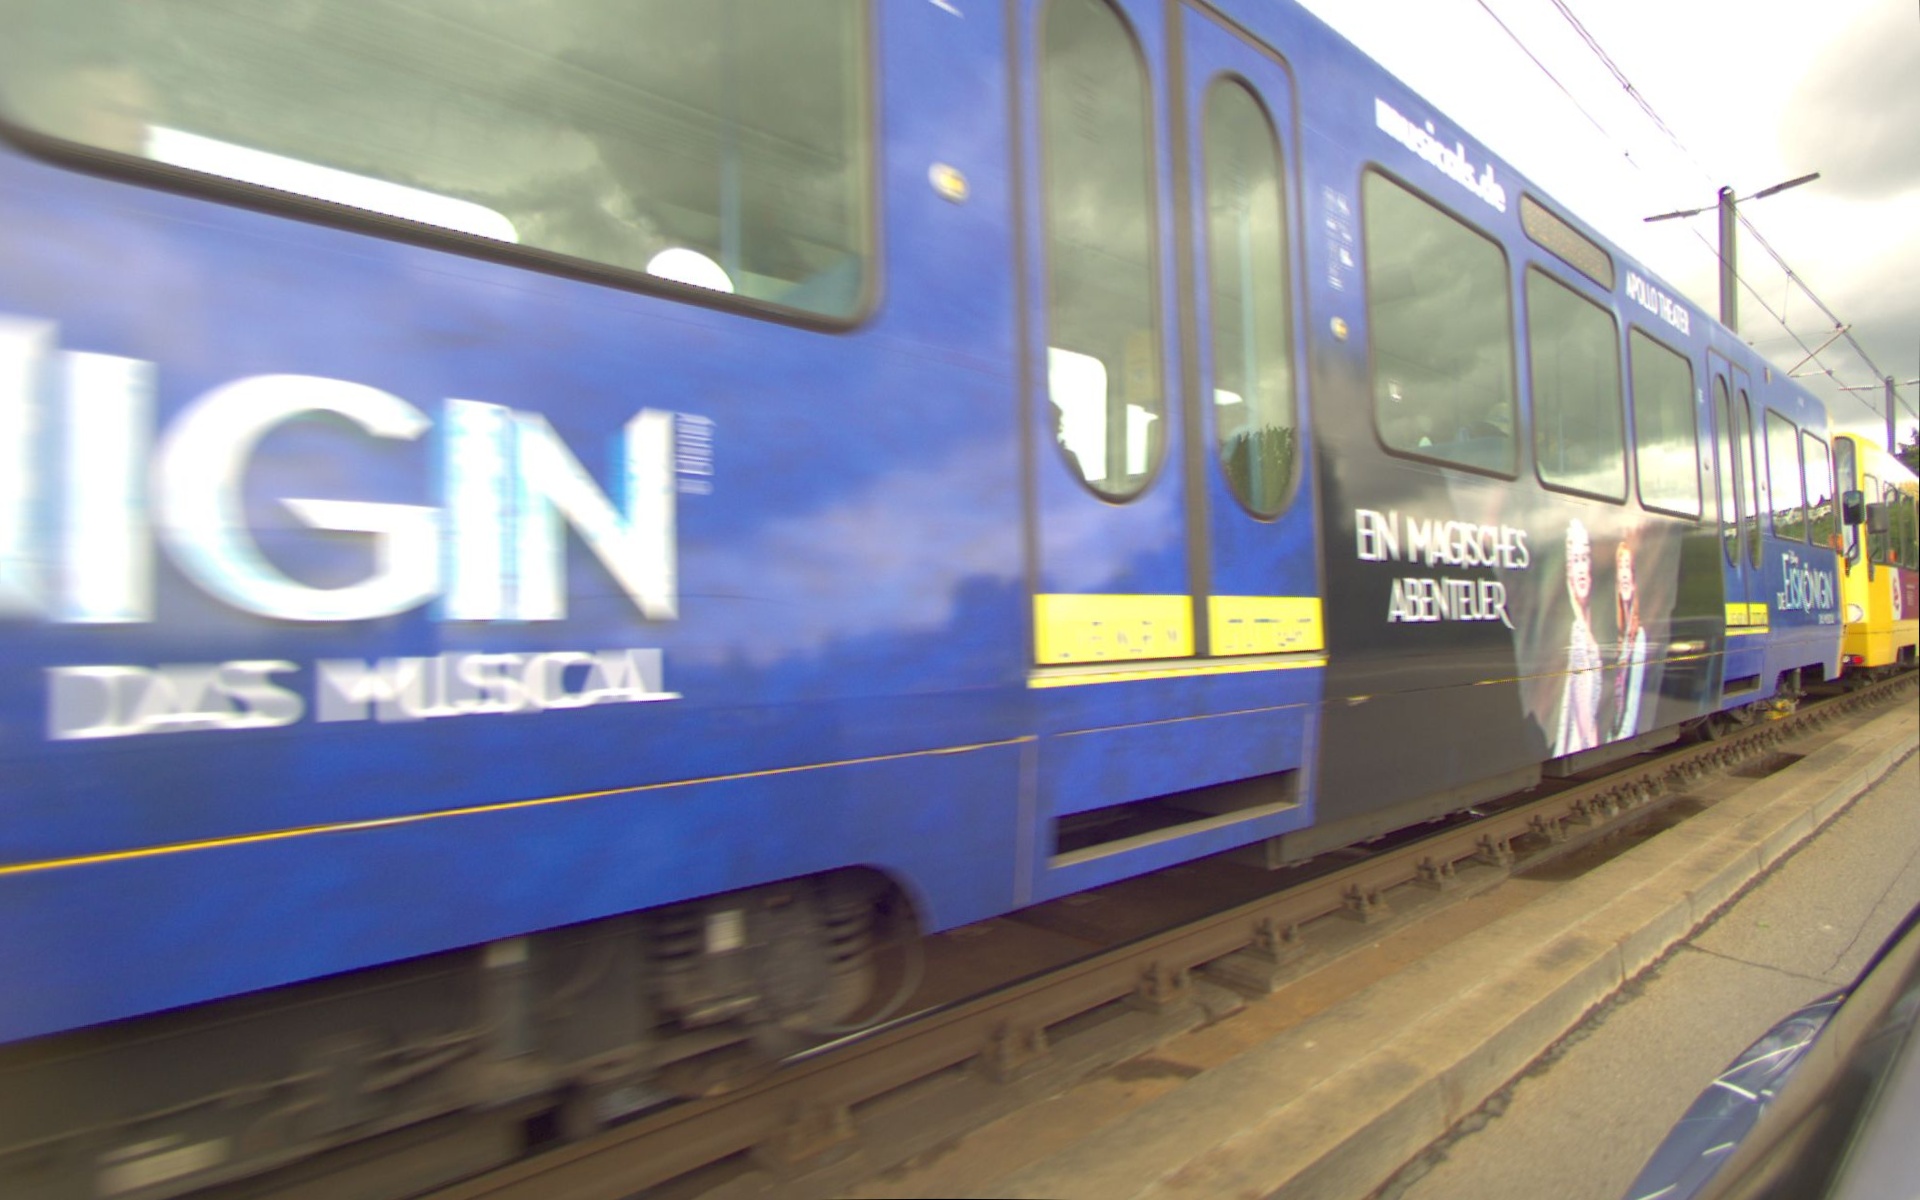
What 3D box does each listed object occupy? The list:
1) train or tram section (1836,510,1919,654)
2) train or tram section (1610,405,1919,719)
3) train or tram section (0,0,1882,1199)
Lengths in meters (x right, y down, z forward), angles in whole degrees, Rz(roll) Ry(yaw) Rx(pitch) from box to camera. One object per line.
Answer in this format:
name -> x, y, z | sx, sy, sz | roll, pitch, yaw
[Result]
train or tram section -> 30.413, -0.456, 31.114 | 18.343, 3.553, 2.887 | 0, 1, -42
train or tram section -> 16.683, -0.470, 18.872 | 18.343, 3.625, 2.834 | 0, 1, -42
train or tram section -> 2.518, -0.515, 6.359 | 19.550, 3.701, 2.789 | -1, 2, -42
